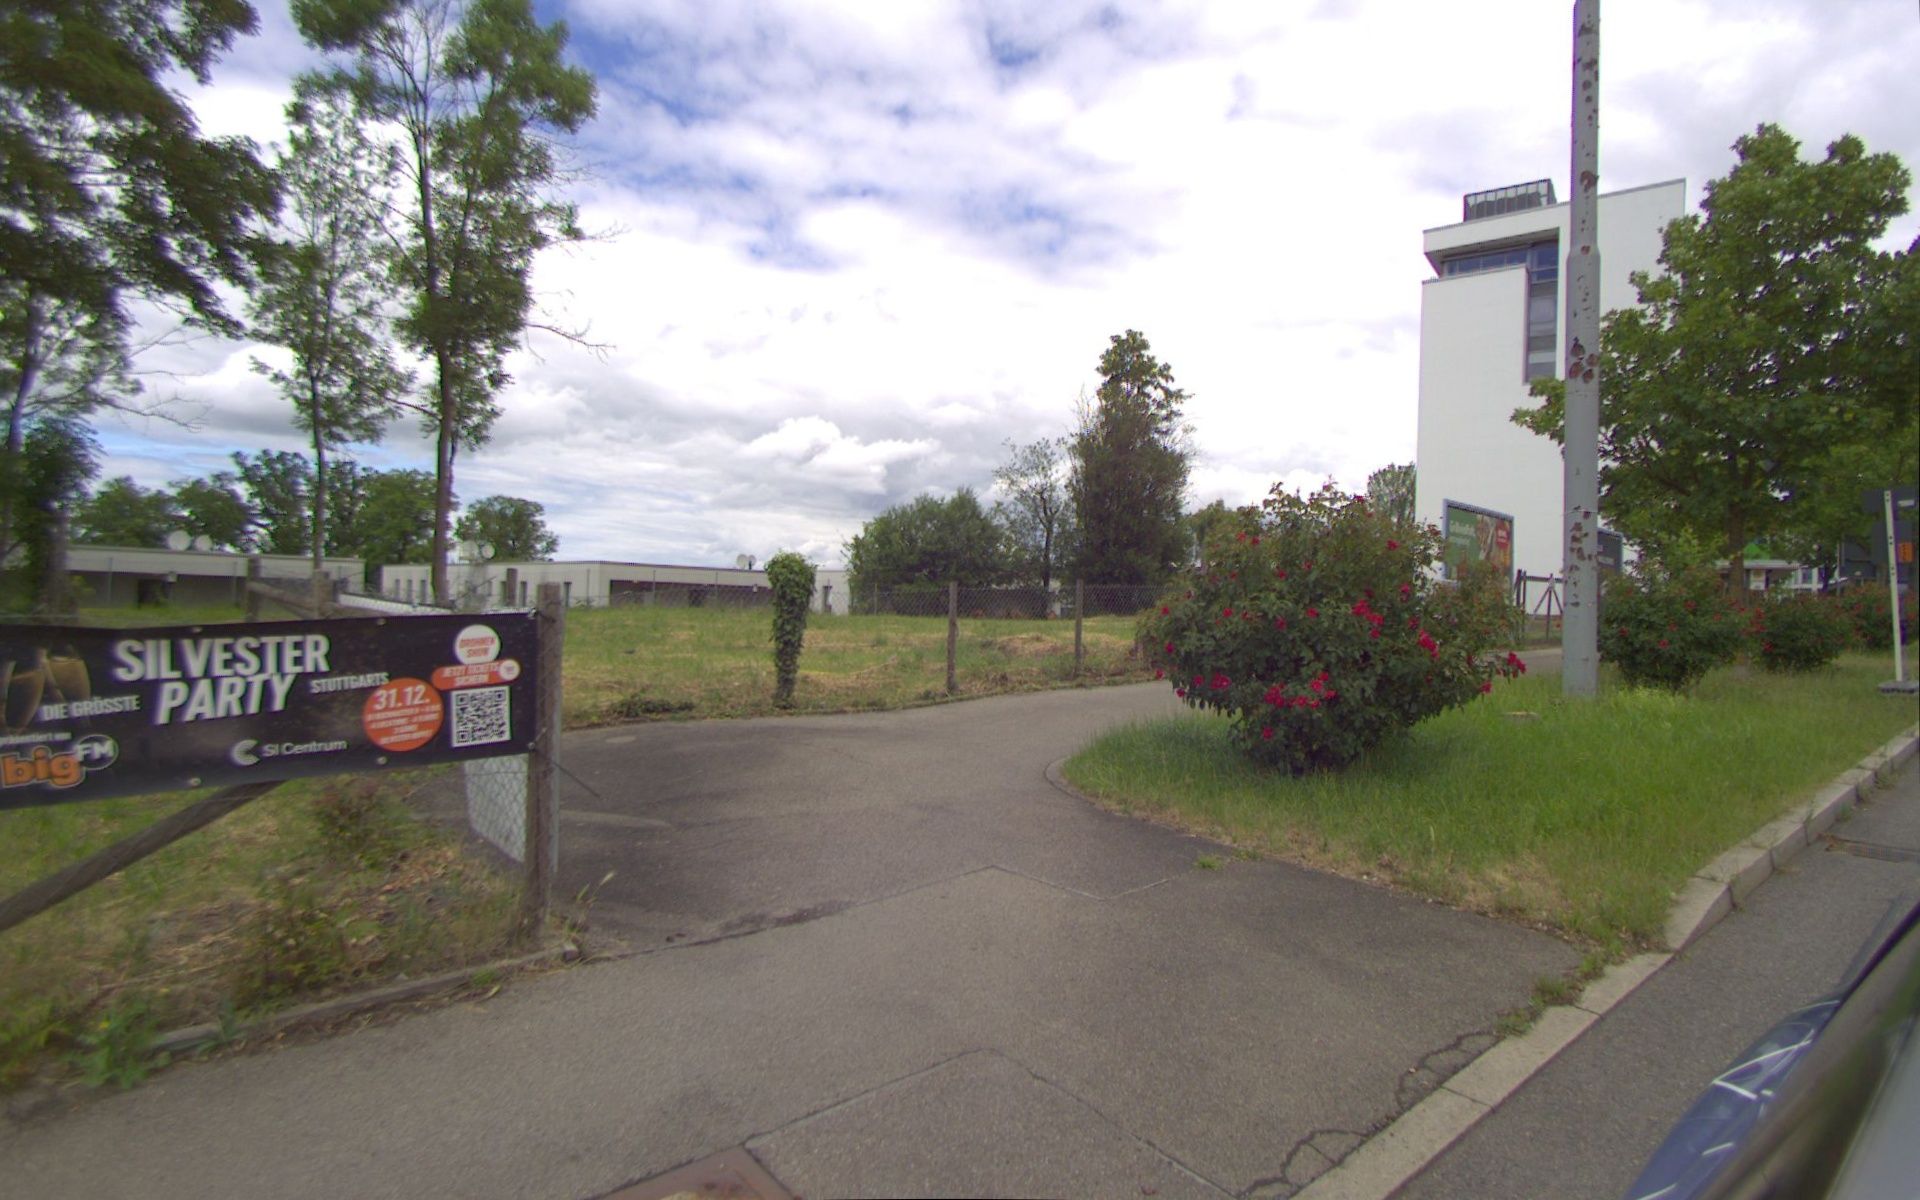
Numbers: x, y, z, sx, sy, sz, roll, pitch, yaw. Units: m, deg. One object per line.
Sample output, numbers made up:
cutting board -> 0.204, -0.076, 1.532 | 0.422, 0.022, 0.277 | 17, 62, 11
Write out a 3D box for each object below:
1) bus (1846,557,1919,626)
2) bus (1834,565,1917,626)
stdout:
bus -> 48.619, -0.351, 52.819 | 2.708, 3.202, 9.002 | 5, 3, 37
bus -> 53.986, -0.239, 59.858 | 2.708, 3.146, 8.747 | 6, 3, 38
